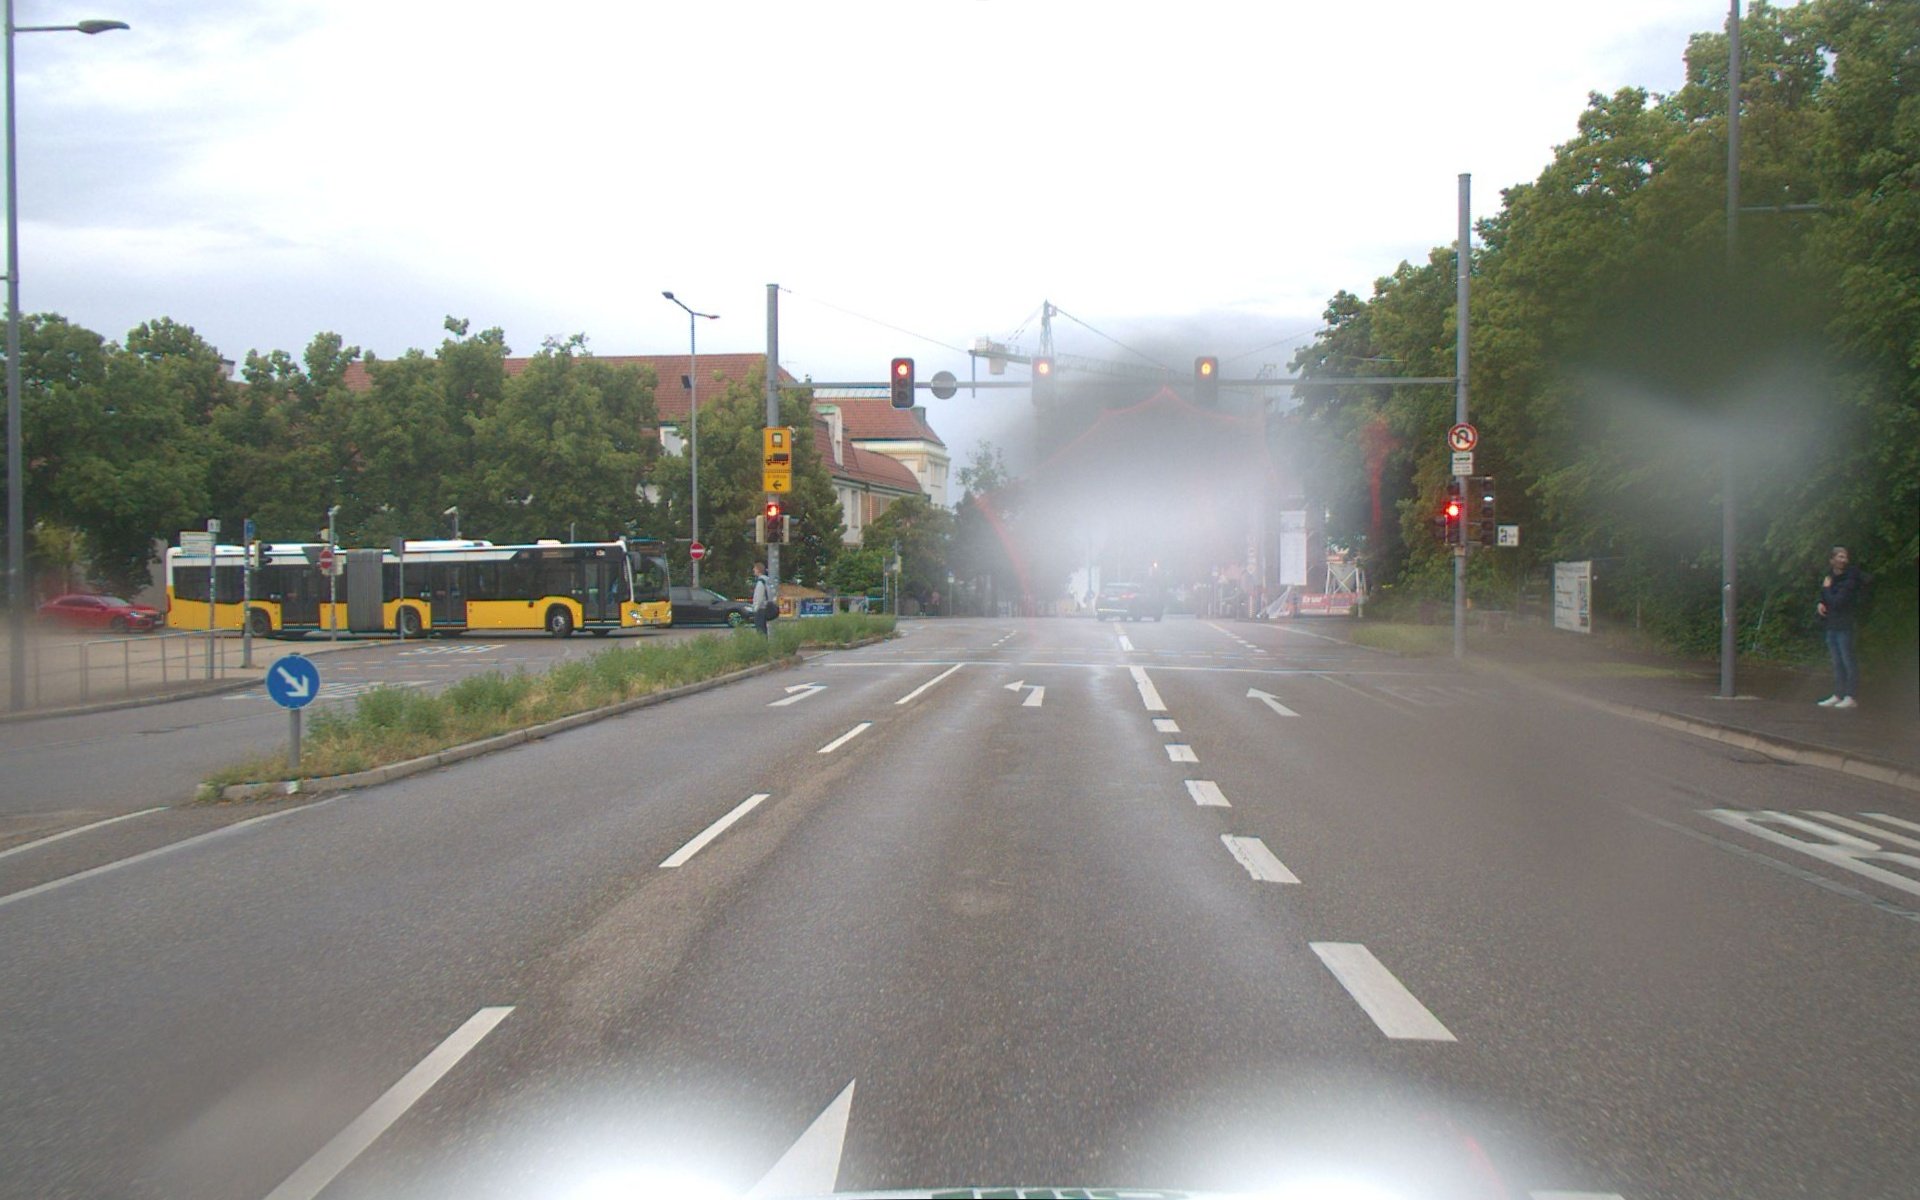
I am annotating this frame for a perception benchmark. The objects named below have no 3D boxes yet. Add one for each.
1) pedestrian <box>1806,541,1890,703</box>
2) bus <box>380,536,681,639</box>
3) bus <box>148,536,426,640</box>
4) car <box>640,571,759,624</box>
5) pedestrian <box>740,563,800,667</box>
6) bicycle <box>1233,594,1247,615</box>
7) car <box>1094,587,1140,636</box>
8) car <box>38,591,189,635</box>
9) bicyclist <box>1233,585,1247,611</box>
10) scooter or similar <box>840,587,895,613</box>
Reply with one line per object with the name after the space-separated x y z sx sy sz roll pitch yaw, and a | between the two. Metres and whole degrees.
10.802 0.261 20.132 0.627 1.934 0.718 -1 0 -1 | pedestrian
-13.921 -0.379 53.523 9.524 3.157 2.898 0 1 21 | bus
-22.734 -0.391 56.064 8.365 3.365 2.900 0 0 7 | bus
-9.200 -0.072 58.673 3.907 1.736 1.999 2 -1 -2 | car
-3.887 0.296 33.859 0.920 2.048 0.848 -3 0 10 | pedestrian
16.955 0.255 100.183 0.705 1.214 1.757 2 -1 6 | bicycle
6.823 0.531 72.278 1.903 2.056 4.553 2 -1 5 | car
-30.935 0.498 60.508 4.477 1.450 2.001 2 -1 4 | car
16.960 -0.116 100.155 0.705 1.591 1.143 2 -1 6 | bicyclist
-5.280 -0.013 94.251 3.023 1.465 0.949 -1 0 3 | scooter or similar
